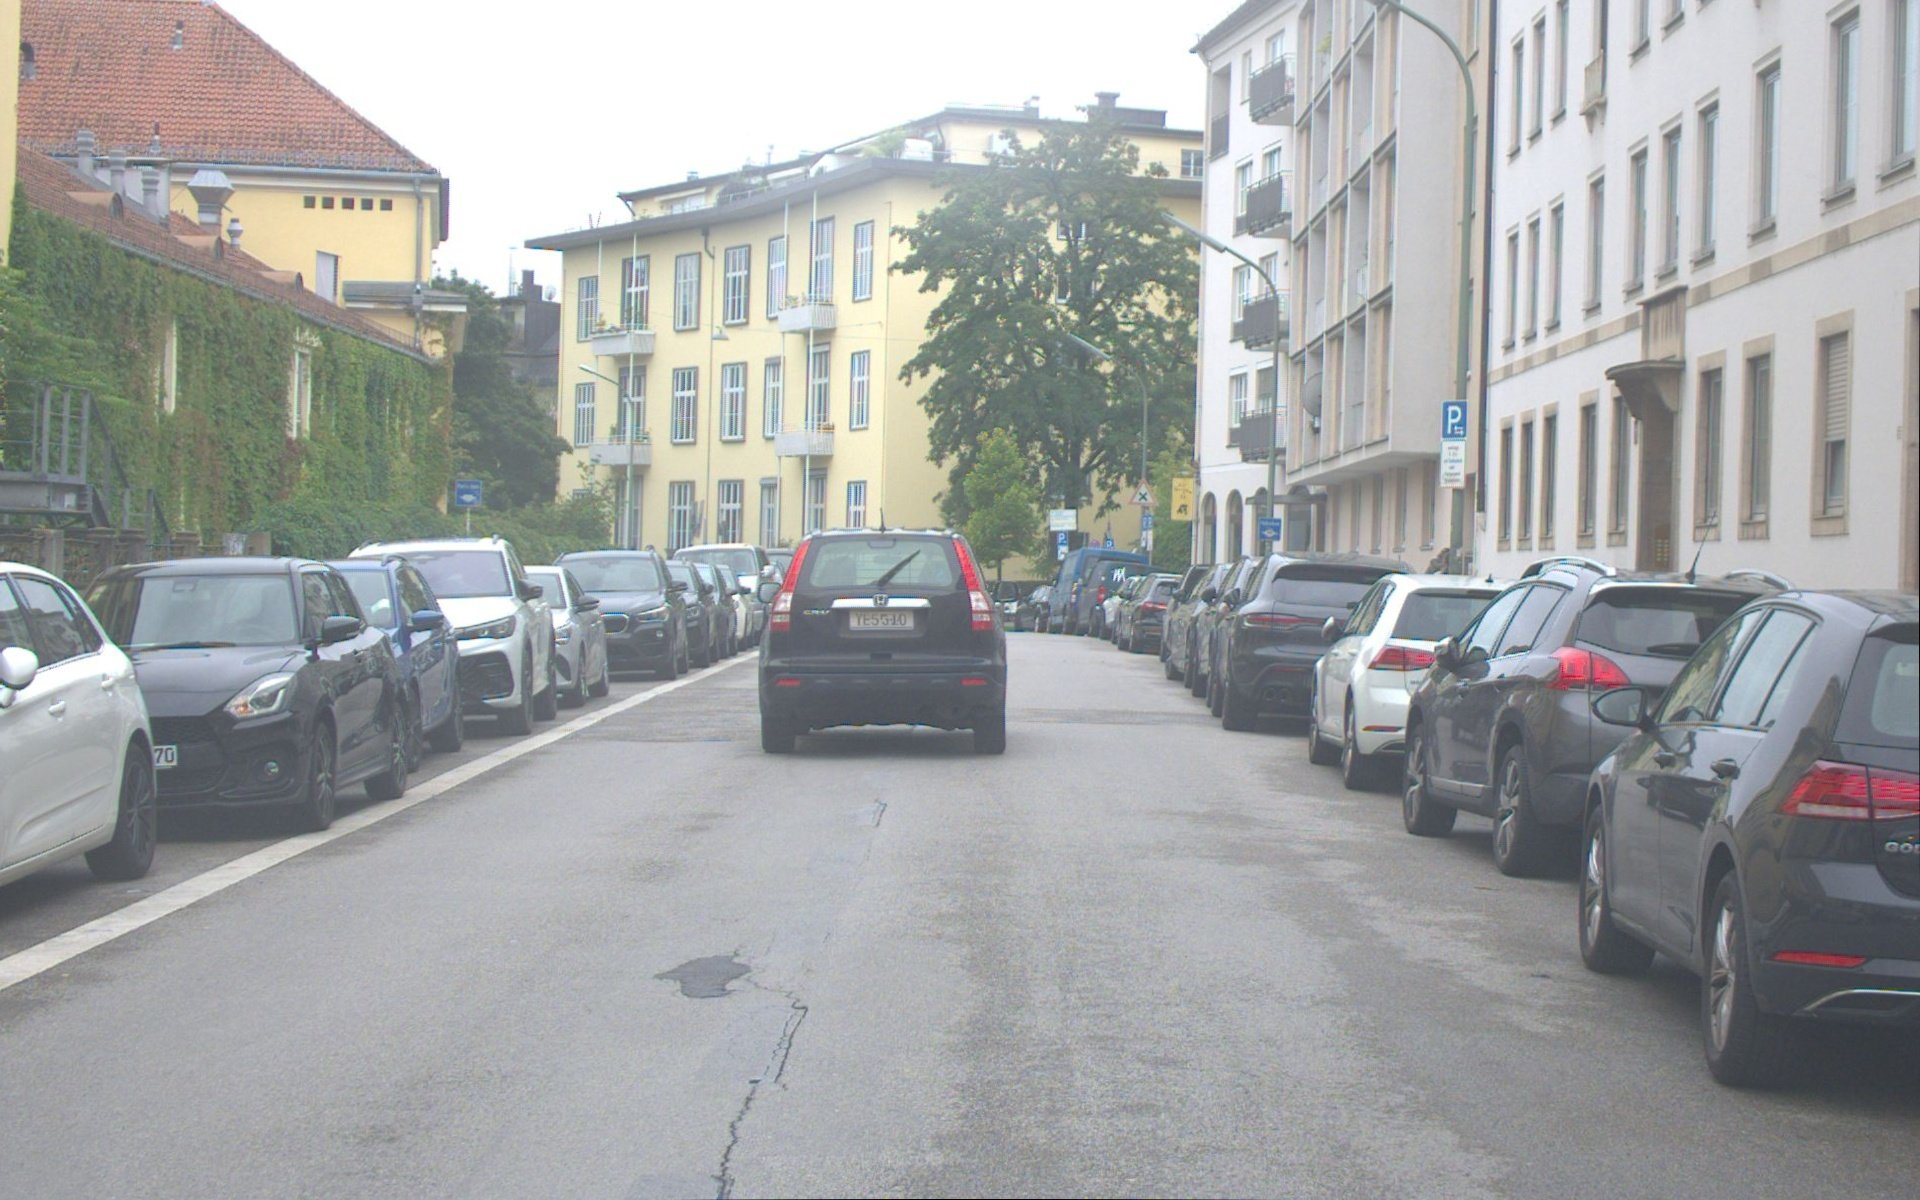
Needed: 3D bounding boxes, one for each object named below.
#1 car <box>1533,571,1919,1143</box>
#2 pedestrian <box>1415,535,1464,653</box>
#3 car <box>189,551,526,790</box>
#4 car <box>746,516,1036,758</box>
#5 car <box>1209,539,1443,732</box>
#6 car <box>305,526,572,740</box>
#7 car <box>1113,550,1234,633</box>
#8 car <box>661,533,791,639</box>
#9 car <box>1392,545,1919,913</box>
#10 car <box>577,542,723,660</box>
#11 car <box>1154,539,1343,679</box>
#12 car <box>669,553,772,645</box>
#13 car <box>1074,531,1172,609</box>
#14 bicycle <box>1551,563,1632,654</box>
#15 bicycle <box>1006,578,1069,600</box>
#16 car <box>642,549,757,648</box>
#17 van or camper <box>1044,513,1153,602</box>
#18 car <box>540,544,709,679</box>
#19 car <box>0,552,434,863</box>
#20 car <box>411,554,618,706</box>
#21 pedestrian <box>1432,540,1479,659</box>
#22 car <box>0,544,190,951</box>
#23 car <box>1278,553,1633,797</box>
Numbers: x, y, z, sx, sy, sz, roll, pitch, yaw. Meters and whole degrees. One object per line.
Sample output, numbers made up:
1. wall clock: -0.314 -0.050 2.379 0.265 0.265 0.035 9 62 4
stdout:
1. car: 3.020 0.690 10.987 1.692 1.446 4.083 3 1 1
2. pedestrian: 6.766 -0.088 48.493 0.596 1.648 0.630 -1 1 1
3. car: -4.219 0.434 24.635 1.680 1.500 3.974 -2 1 0
4. car: -0.440 0.222 26.395 1.995 1.688 4.380 -1 1 2
5. car: 3.233 0.264 31.072 1.778 1.579 4.329 1 1 2
6. car: -4.354 0.220 29.281 1.680 1.628 4.357 -2 1 -2
7. car: 3.823 -0.176 62.228 1.796 1.416 4.483 -1 1 -1
8. car: -4.313 -0.298 64.049 1.993 1.869 4.758 1 1 1
9. car: 3.425 0.557 17.665 1.692 1.578 4.083 3 1 -2
10. car: -4.323 -0.019 48.406 1.781 1.532 4.149 1 1 -2
11. car: 3.407 0.060 41.398 1.856 1.539 4.816 -1 1 0
12. car: -4.047 -0.049 58.533 1.578 1.487 3.730 -1 1 -2
13. car: 3.932 -0.763 83.781 1.964 1.810 4.936 1 1 -2
14. bicycle: 7.941 0.095 43.305 0.659 1.122 2.028 0 1 0
15. bicycle: 2.850 -0.399 125.889 2.211 0.776 0.610 1 0 14
16. car: -4.002 -0.050 53.292 1.578 1.450 3.905 -1 1 -2
17. van or camper: 3.564 -1.131 89.510 2.060 2.223 5.439 -1 1 -6
18. car: -4.104 0.104 42.559 1.781 1.532 4.196 1 1 -2
19. car: -4.123 0.516 19.307 1.680 1.490 3.986 -2 1 0
20. car: -4.456 0.259 34.860 1.680 1.421 3.895 -1 1 -2
21. pedestrian: 6.649 -0.009 46.128 0.531 1.579 0.560 -1 1 1
22. car: -4.491 0.573 13.906 1.723 1.522 4.087 -2 1 1
23. car: 3.363 0.456 24.068 1.692 1.459 4.083 3 1 -2
